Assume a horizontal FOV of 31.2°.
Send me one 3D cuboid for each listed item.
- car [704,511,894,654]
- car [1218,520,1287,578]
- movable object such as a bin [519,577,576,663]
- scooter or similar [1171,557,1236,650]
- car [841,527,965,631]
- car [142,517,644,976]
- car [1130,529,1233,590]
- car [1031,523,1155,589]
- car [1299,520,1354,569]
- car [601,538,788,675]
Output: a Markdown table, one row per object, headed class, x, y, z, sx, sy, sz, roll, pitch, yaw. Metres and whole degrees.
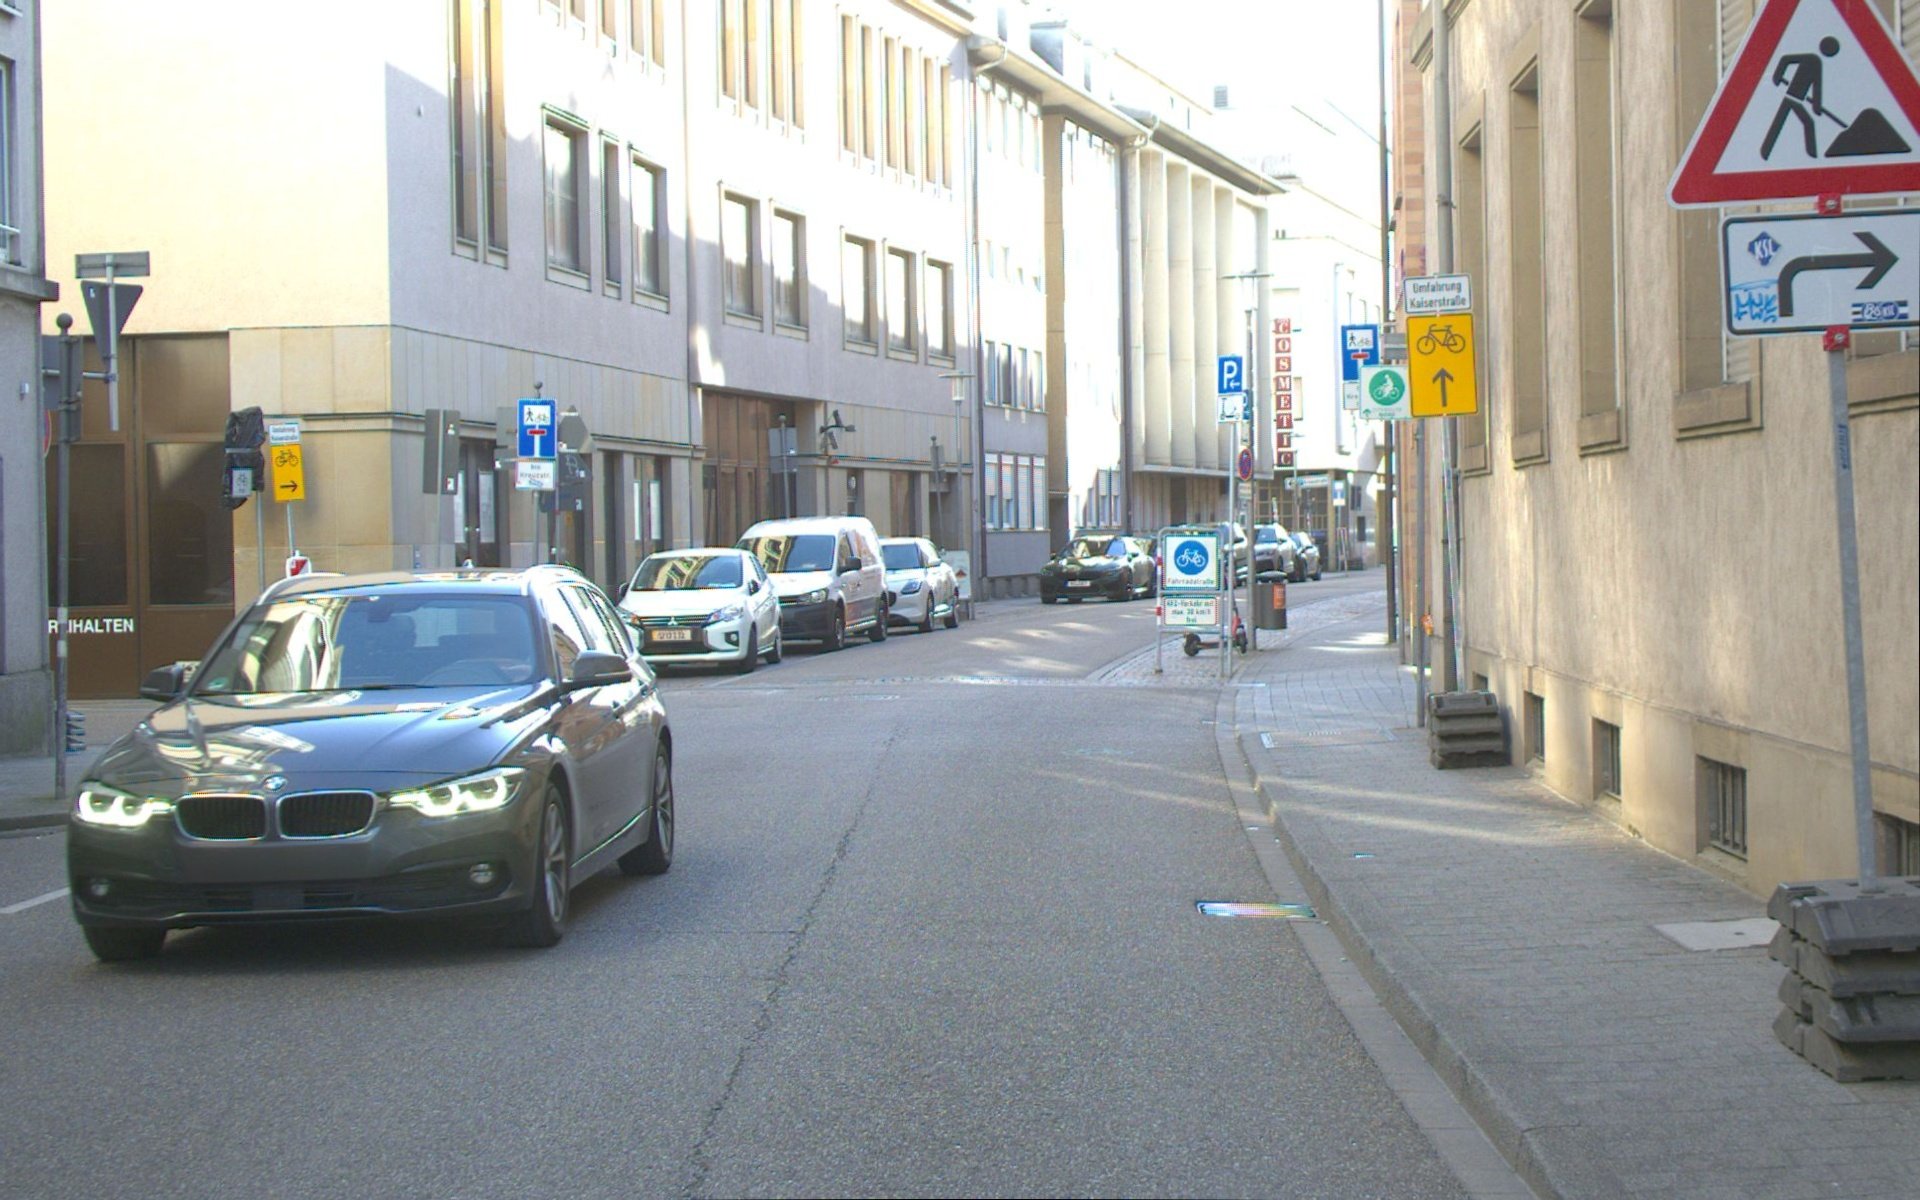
| class | x | y | z | sx | sy | sz | roll | pitch | yaw |
| --- | --- | --- | --- | --- | --- | --- | --- | --- | --- |
| car | -2.166 | -0.288 | 47.542 | 1.671 | 1.812 | 4.550 | -2 | 1 | 9 |
| car | 7.945 | -1.396 | 93.130 | 1.339 | 1.489 | 3.508 | -1 | 1 | 13 |
| movable object such as a bin | -5.158 | 0.246 | 43.019 | 0.608 | 1.057 | 0.713 | 1 | 1 | 0 |
| scooter or similar | 3.017 | 0.039 | 42.614 | 0.771 | 1.132 | 0.269 | 2 | 1 | 6 |
| car | -0.863 | -0.354 | 53.656 | 1.272 | 1.501 | 3.400 | -2 | 1 | 10 |
| car | -2.243 | 0.480 | 14.193 | 1.714 | 1.572 | 4.191 | -1 | 1 | -7 |
| car | 5.193 | -0.962 | 80.144 | 1.725 | 1.336 | 3.998 | -1 | 1 | 13 |
| car | 2.884 | -0.971 | 73.834 | 1.882 | 1.327 | 4.098 | -1 | 1 | 13 |
| car | 11.758 | -1.793 | 110.236 | 1.339 | 1.489 | 3.345 | -1 | 1 | 13 |
| car | -3.172 | 0.039 | 41.735 | 1.670 | 1.501 | 3.793 | -2 | 1 | 4 |
